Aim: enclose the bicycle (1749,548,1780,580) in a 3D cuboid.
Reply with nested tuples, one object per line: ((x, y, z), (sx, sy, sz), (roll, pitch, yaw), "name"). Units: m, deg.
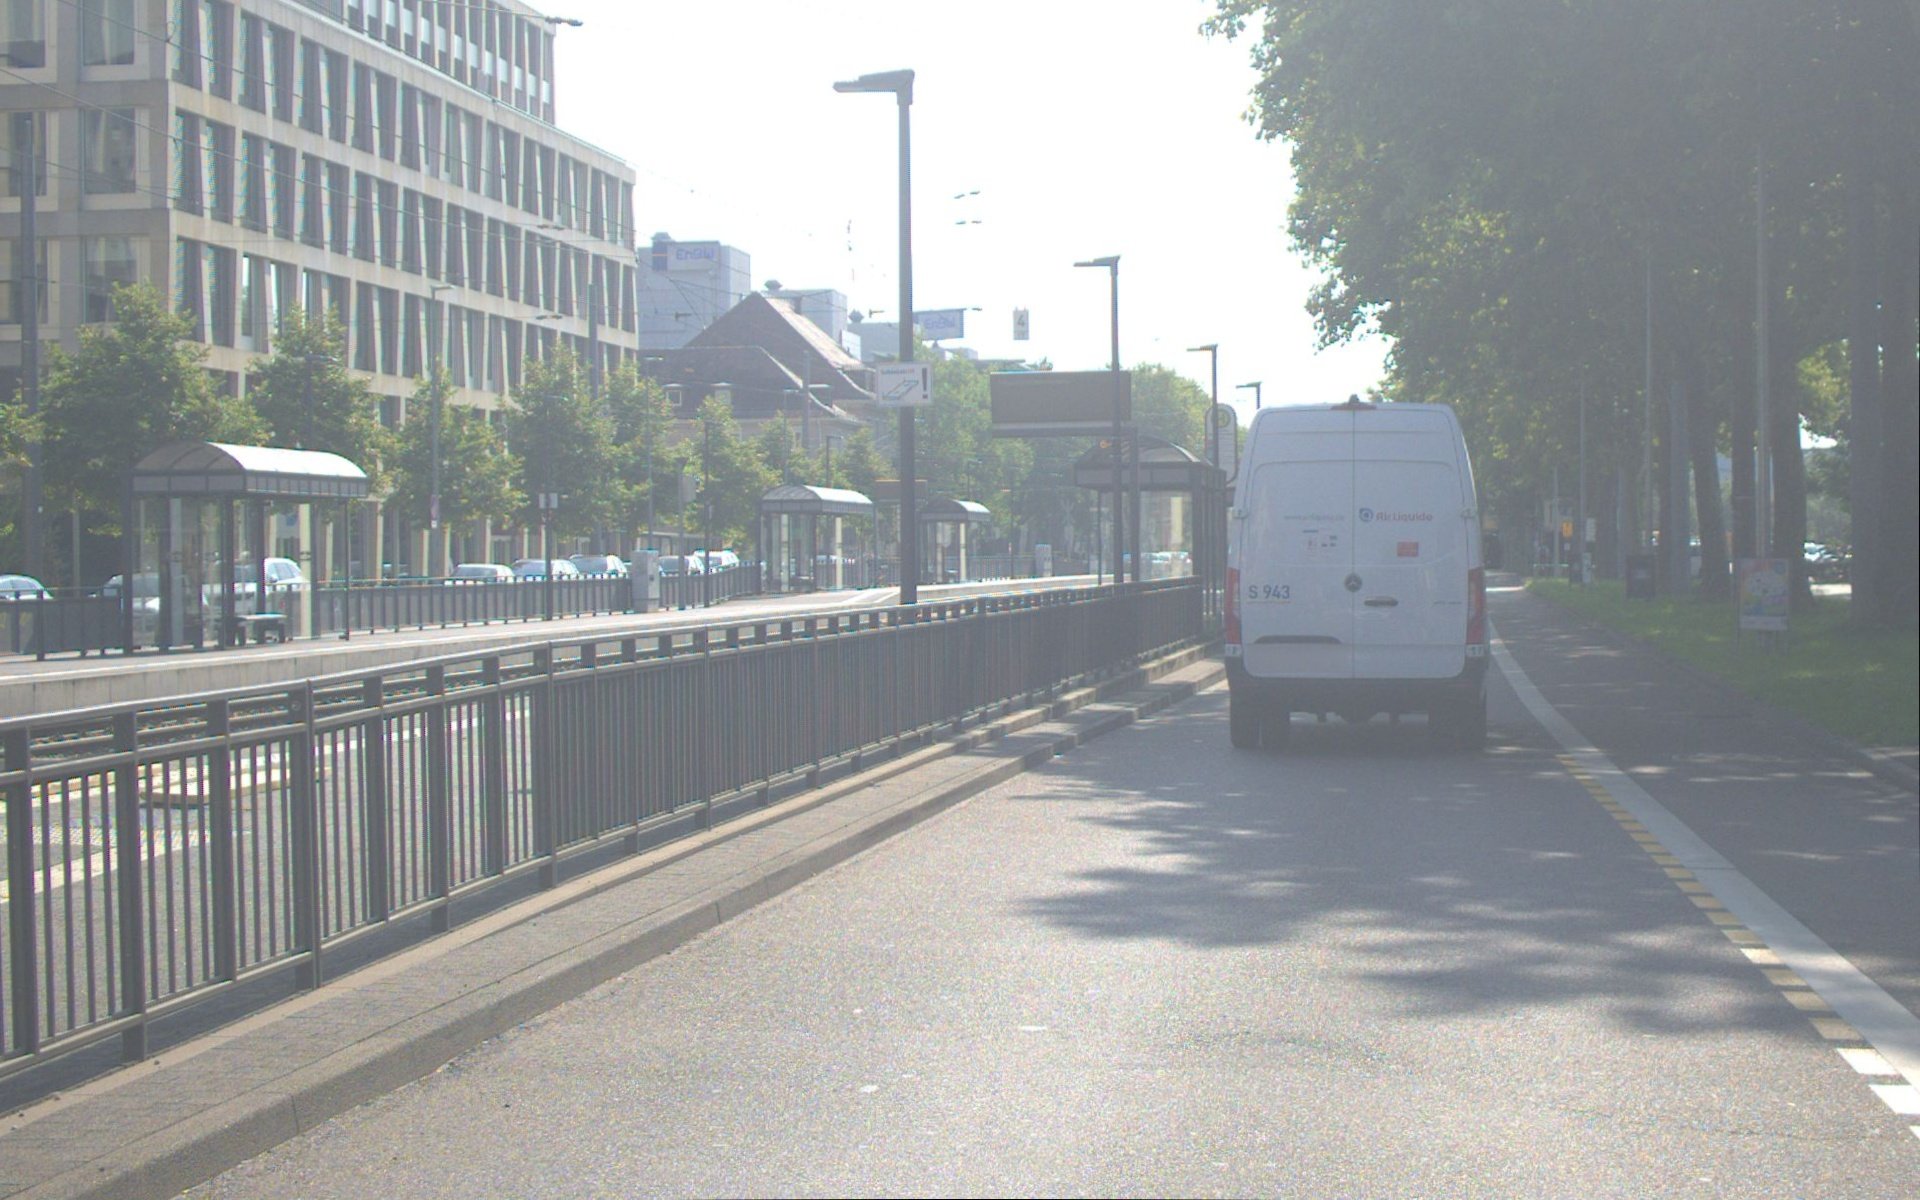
((25.511, -1.146, 109.039), (0.681, 1.002, 2.217), (-1, 1, 7), "bicycle")

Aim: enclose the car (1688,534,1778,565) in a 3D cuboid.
((36.713, -2.399, 163.330), (3.988, 1.371, 1.999), (1, 0, 8), "car")

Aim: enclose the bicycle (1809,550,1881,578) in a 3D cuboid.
((28.554, -1.159, 110.897), (2.181, 0.844, 0.503), (-1, 1, 9), "bicycle")

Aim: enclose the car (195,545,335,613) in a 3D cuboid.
((-15.180, -0.489, 75.304), (1.684, 1.402, 4.370), (-1, 1, 7), "car")

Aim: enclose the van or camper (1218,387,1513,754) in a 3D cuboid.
((3.224, -0.267, 27.900), (2.116, 2.673, 5.249), (1, 1, 5), "van or camper")

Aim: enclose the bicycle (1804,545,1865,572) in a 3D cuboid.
((28.967, -1.388, 113.902), (1.933, 0.844, 0.372), (-1, 1, 9), "bicycle")

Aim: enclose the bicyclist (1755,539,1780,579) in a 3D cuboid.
((25.621, -1.304, 109.060), (0.669, 1.272, 0.728), (-1, 1, 7), "bicyclist")
